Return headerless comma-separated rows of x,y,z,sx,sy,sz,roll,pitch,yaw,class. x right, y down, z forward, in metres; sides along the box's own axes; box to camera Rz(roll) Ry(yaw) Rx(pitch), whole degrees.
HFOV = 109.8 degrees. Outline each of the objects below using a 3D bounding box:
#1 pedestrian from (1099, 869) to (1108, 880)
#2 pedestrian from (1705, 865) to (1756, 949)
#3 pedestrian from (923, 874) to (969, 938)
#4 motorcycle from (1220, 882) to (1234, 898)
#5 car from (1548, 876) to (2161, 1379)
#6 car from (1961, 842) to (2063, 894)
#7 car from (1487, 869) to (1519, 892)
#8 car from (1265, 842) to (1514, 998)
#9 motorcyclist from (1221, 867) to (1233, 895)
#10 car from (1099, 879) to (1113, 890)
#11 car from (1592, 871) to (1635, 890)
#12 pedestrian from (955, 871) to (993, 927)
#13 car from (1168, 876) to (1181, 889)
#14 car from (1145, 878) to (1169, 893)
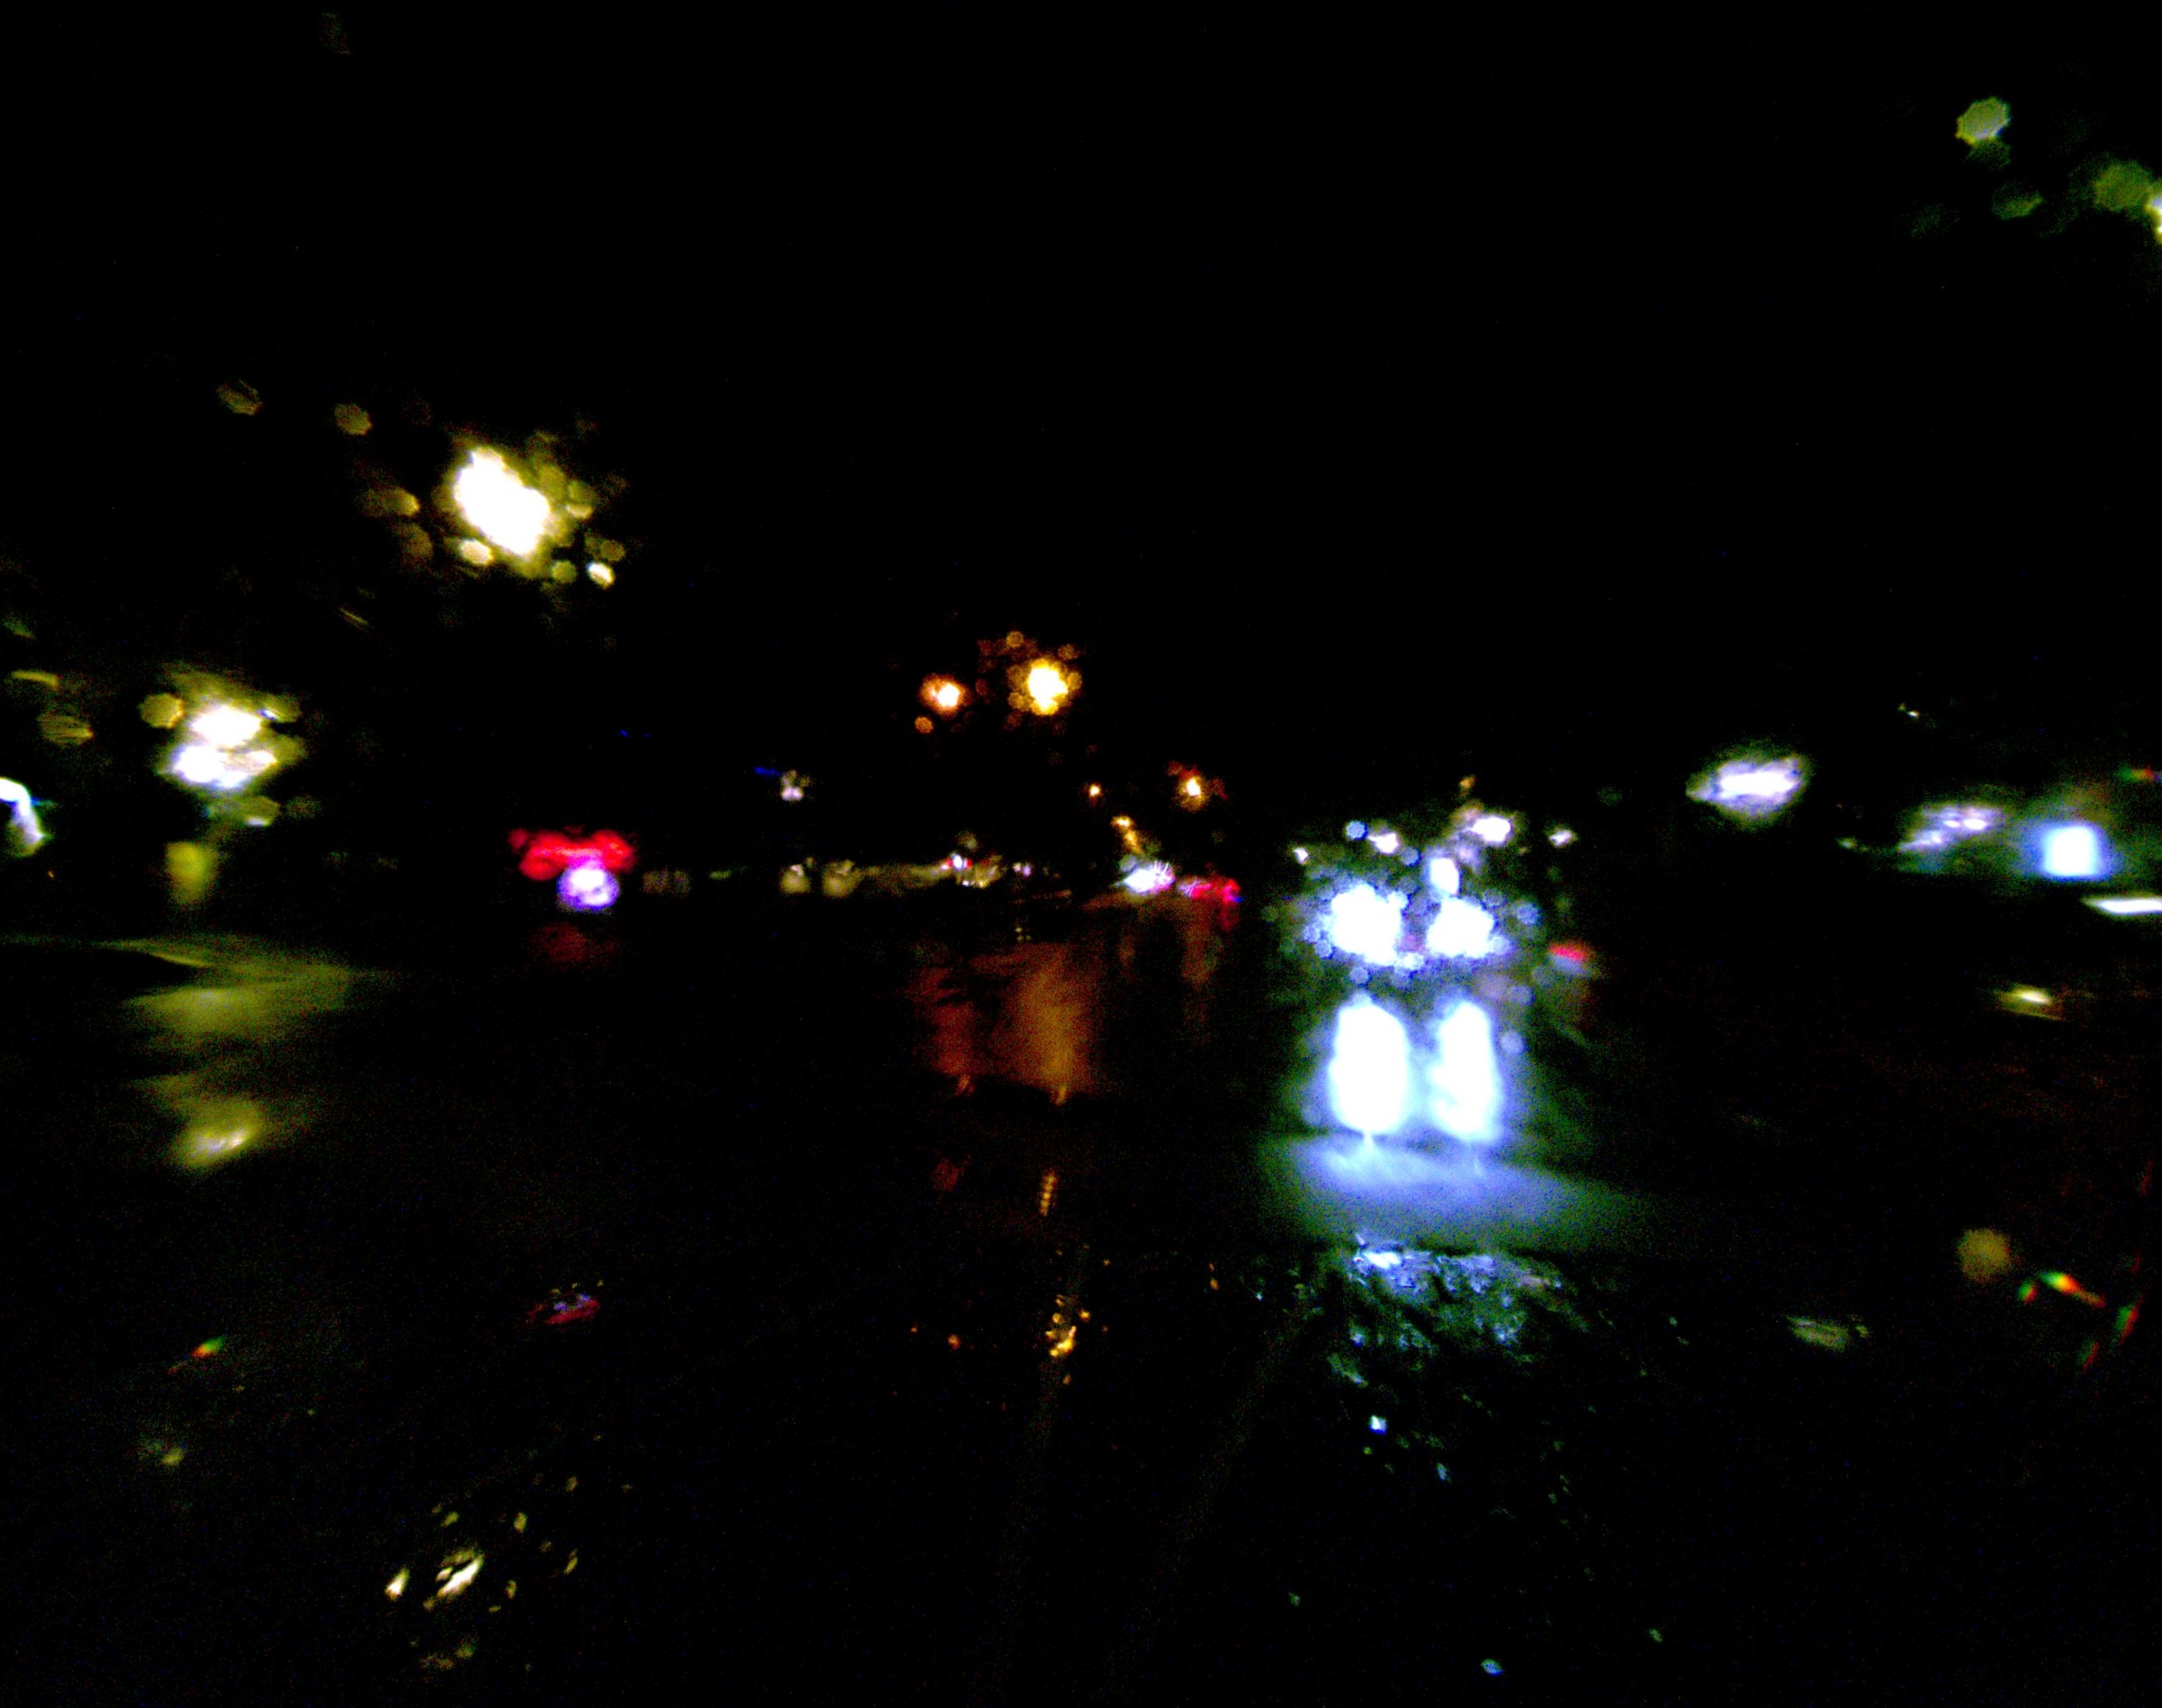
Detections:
3.247,2.922,108.166,1.051,1.565,1.019,-2,-1,10,pedestrian
13.988,1.117,16.387,0.769,1.725,0.972,-2,-2,38,pedestrian
-3.900,1.496,22.010,1.109,1.814,0.852,-1,-2,7,pedestrian
10.407,2.558,54.195,0.702,1.131,2.177,-1,-2,4,motorcycle
4.265,0.877,3.037,1.822,1.533,4.727,-1,-1,-1,car
51.259,0.785,41.966,1.715,2.714,4.363,-2,-2,24,car
34.307,2.130,61.884,1.866,1.749,4.502,-2,-2,24,car
4.472,0.936,12.090,2.039,1.941,5.203,0,-2,3,car
10.411,1.946,54.322,0.694,2.001,0.983,-1,-2,4,motorcyclist
3.668,4.413,111.385,1.826,1.521,4.786,0,-2,5,car
41.467,2.039,59.282,1.866,1.434,4.502,-2,-2,24,car
-3.567,1.498,25.394,1.109,1.814,0.851,-1,-2,5,pedestrian
11.848,3.607,96.425,1.601,1.554,4.383,2,-1,6,car
7.731,3.212,77.335,1.857,1.490,4.771,0,-2,-1,car
